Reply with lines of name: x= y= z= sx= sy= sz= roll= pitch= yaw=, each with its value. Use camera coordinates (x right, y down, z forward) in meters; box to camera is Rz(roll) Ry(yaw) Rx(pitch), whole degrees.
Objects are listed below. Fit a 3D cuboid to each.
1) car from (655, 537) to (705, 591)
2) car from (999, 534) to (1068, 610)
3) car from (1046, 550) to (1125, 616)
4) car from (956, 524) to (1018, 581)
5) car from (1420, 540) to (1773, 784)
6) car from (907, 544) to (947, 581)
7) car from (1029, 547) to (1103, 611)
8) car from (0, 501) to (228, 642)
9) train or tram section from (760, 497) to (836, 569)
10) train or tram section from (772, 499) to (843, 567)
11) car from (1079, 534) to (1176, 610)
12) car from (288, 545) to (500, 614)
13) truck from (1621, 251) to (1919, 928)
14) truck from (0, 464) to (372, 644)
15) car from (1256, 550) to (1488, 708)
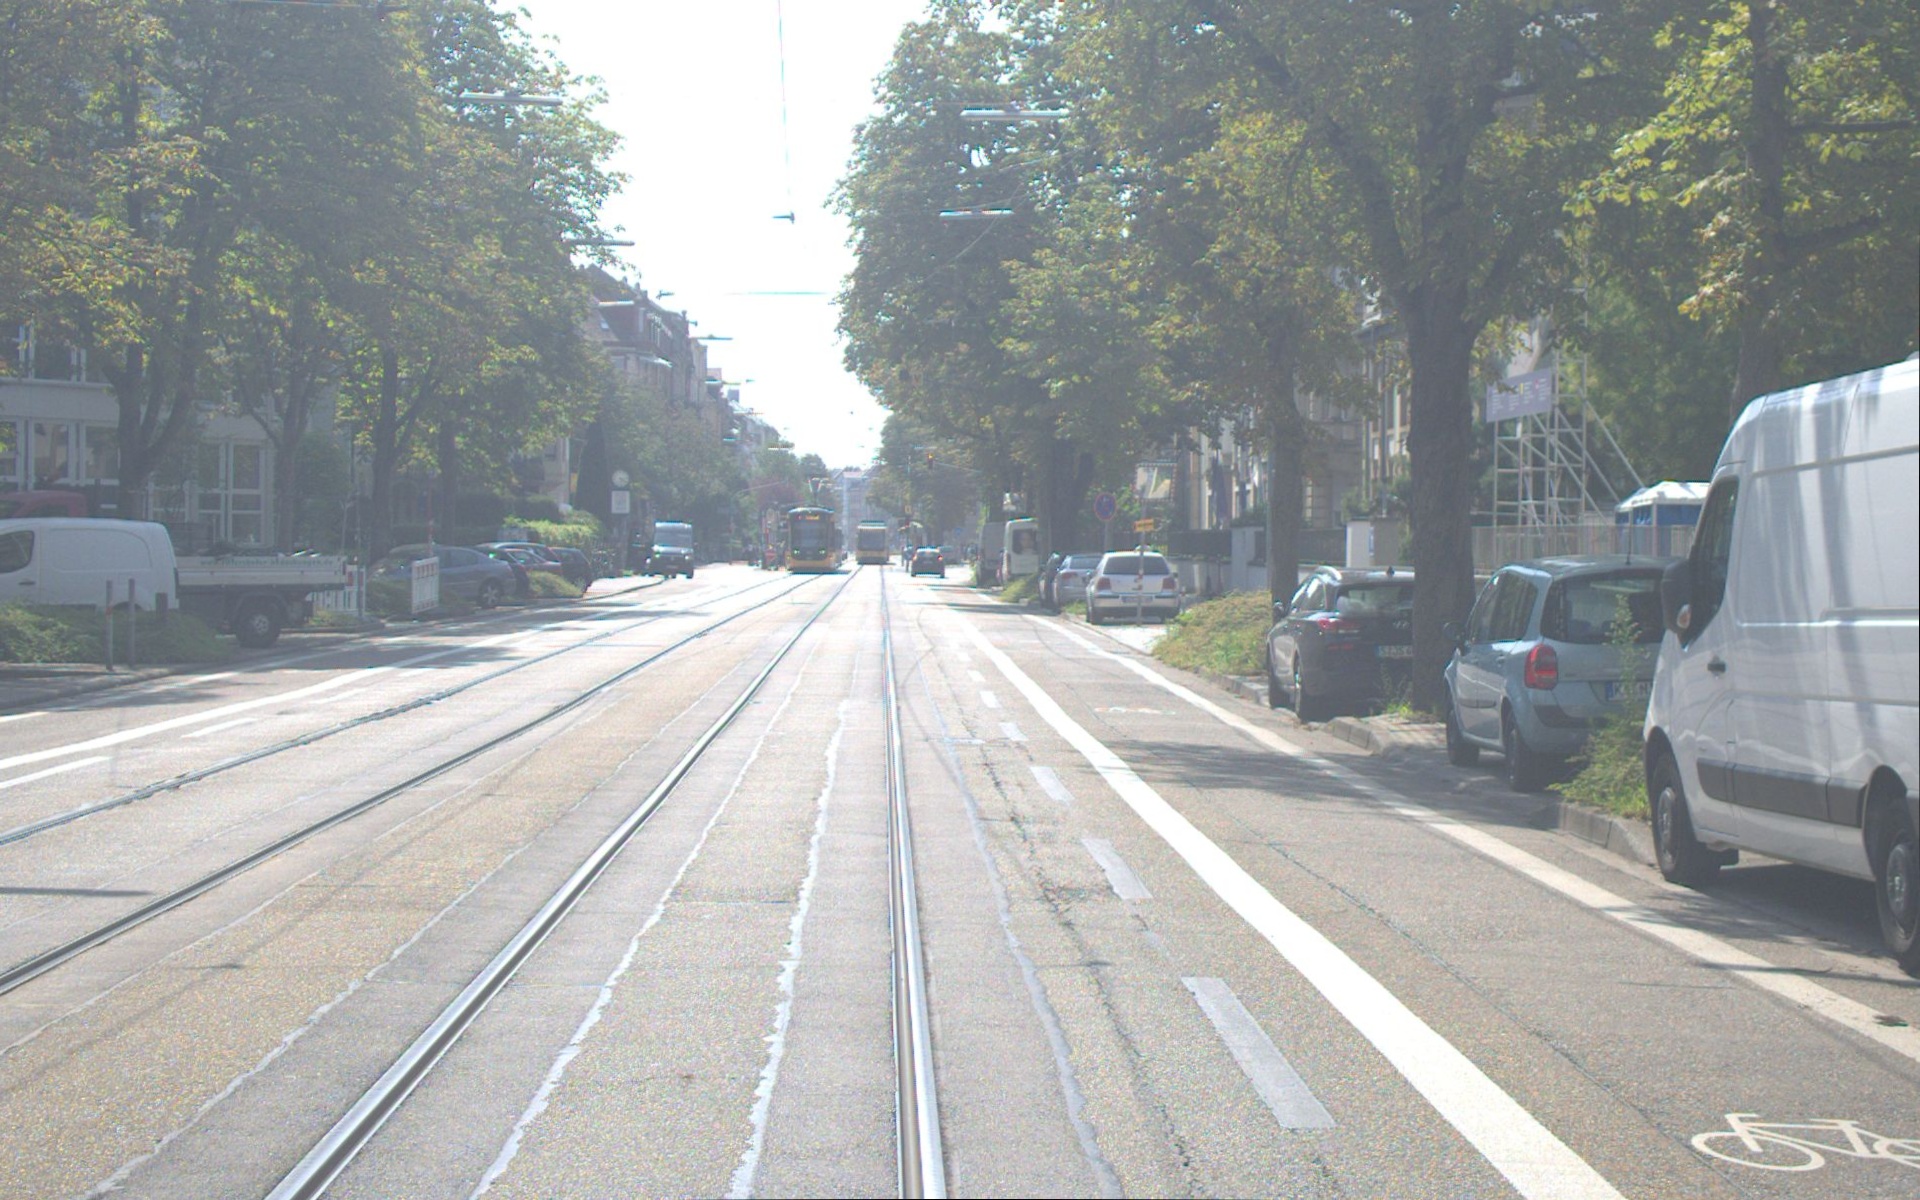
car: x=-12.921 y=-1.680 z=158.894 sx=2.241 sy=2.433 sz=4.001 roll=1 pitch=1 yaw=-5
car: x=2.327 y=-0.899 z=109.320 sx=1.993 sy=2.357 sz=4.000 roll=1 pitch=1 yaw=-1
car: x=2.952 y=-0.416 z=81.479 sx=1.640 sy=1.506 sz=3.641 roll=1 pitch=0 yaw=-1
car: x=1.057 y=-1.884 z=136.307 sx=1.993 sy=2.226 sz=4.001 roll=0 pitch=1 yaw=-6
car: x=4.497 y=0.393 z=24.857 sx=1.674 sy=1.574 sz=4.172 roll=-1 pitch=0 yaw=-1
car: x=-1.693 y=-1.916 z=176.025 sx=1.993 sy=1.795 sz=4.000 roll=1 pitch=1 yaw=-1
car: x=2.676 y=-0.544 z=87.672 sx=1.794 sy=1.571 sz=4.000 roll=1 pitch=1 yaw=1
car: x=-11.883 y=-0.381 z=44.768 sx=4.274 sy=1.766 sz=1.824 roll=-1 pitch=1 yaw=-44
train or tram section: x=-8.606 y=-3.609 z=184.383 sx=3.497 sy=3.691 sz=12.413 roll=1 pitch=1 yaw=0
train or tram section: x=-8.662 y=-3.864 z=196.808 sx=3.497 sy=3.691 sz=12.413 roll=1 pitch=1 yaw=0
car: x=3.286 y=-0.569 z=67.994 sx=1.791 sy=1.441 sz=3.733 roll=-1 pitch=1 yaw=1
car: x=-12.719 y=-0.486 z=77.528 sx=1.675 sy=1.447 sz=4.677 roll=1 pitch=2 yaw=42
truck: x=4.548 y=-0.060 z=15.233 sx=1.916 sy=2.590 sz=5.593 roll=1 pitch=1 yaw=-2
truck: x=-11.484 y=-0.653 z=48.684 sx=5.951 sy=2.426 sz=2.150 roll=-1 pitch=1 yaw=-40
car: x=4.066 y=0.236 z=34.566 sx=1.674 sy=1.453 sz=4.664 roll=0 pitch=1 yaw=-1
